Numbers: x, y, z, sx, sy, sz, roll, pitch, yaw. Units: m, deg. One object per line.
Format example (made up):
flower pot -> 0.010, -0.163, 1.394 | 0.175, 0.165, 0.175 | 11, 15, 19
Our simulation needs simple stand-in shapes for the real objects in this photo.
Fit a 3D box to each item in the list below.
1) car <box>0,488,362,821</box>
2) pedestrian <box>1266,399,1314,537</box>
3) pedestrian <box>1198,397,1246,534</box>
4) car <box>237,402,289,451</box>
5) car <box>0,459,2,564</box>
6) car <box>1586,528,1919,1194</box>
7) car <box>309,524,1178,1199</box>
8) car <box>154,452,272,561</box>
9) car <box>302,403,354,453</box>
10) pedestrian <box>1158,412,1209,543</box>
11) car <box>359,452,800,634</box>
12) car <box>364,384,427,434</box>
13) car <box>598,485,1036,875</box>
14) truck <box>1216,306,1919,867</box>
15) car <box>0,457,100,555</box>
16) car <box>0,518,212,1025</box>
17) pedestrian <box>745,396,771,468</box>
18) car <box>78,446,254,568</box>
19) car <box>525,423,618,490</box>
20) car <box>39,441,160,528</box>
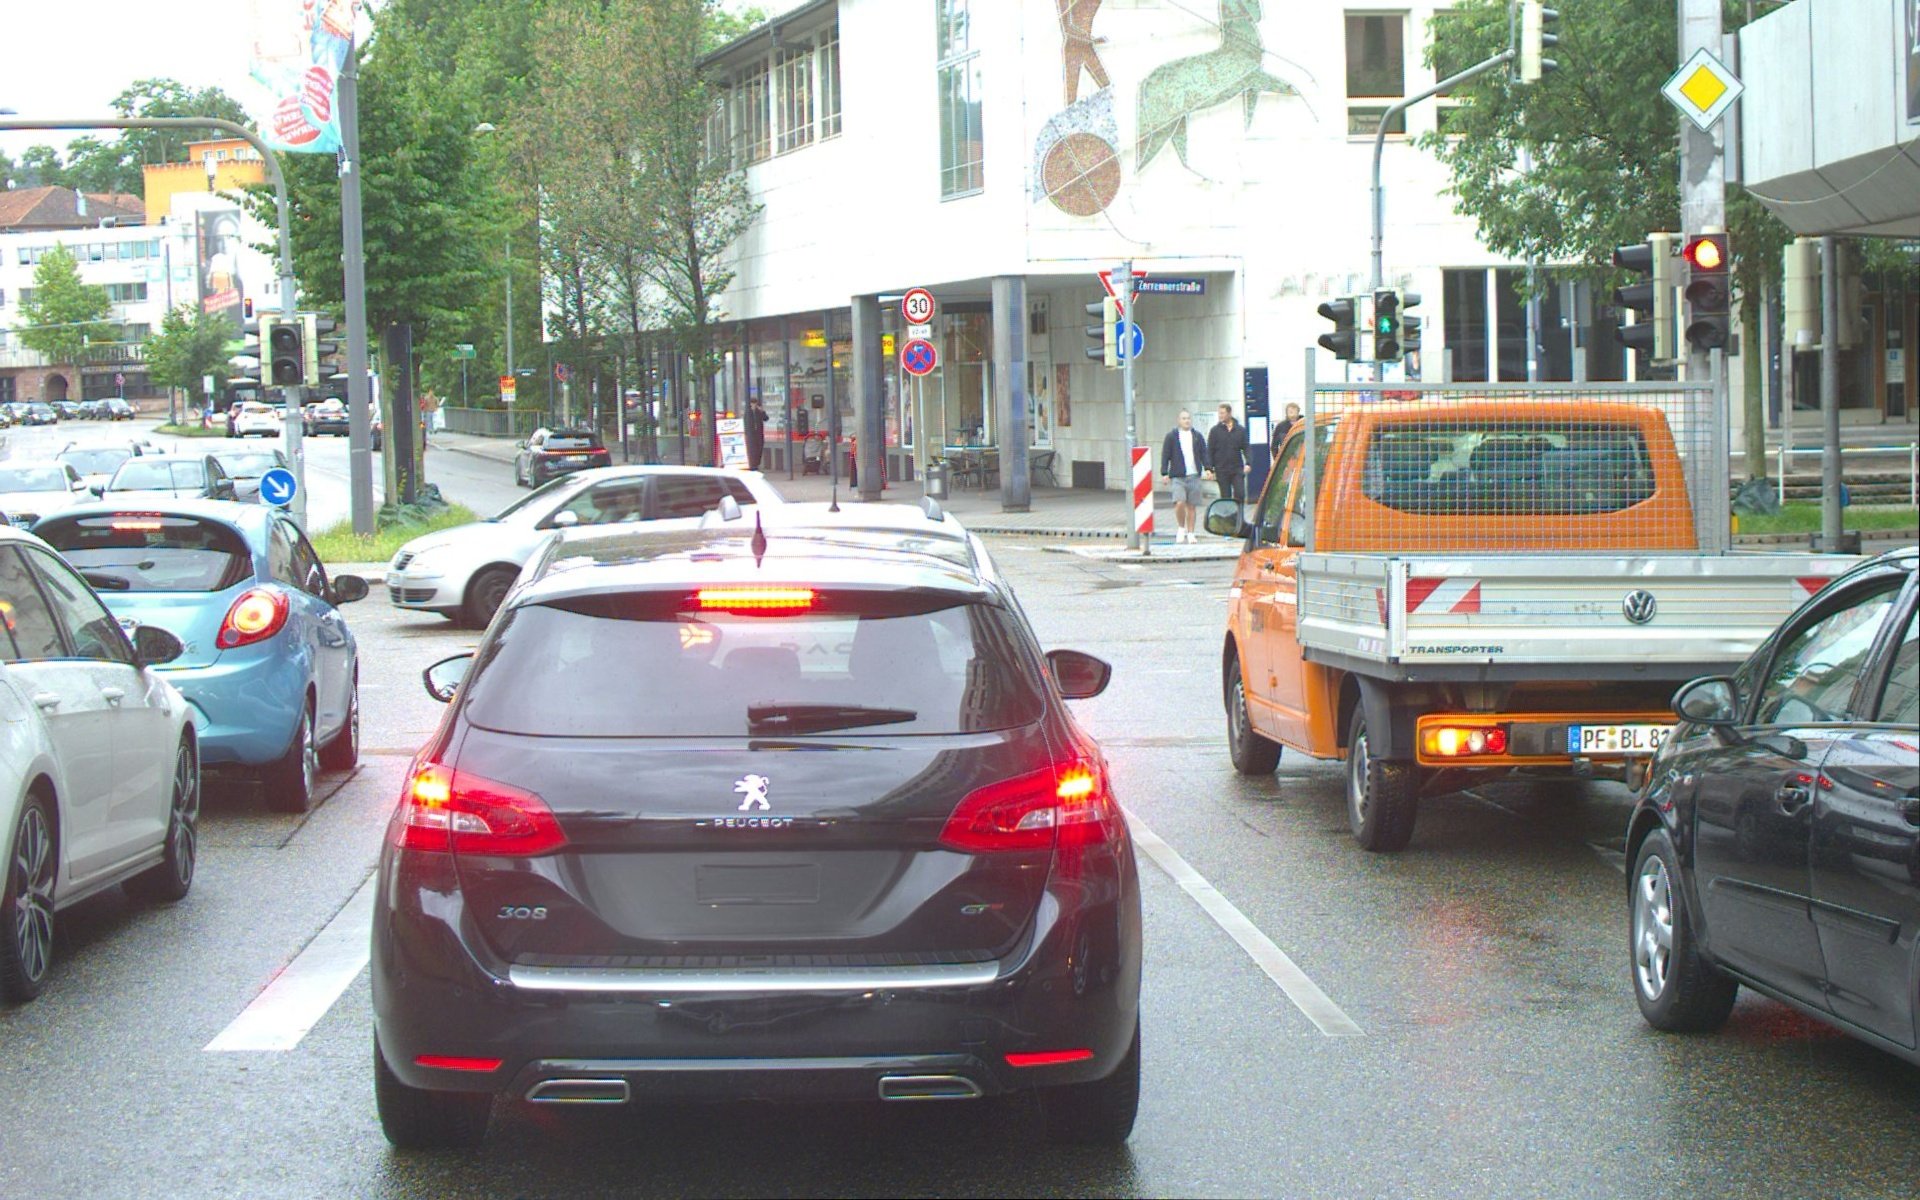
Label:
car -> -4.012, 0.193, 17.456 | 1.632, 1.481, 3.610 | 0, 2, -5
pedestrian -> 4.587, -1.831, 47.775 | 0.637, 1.891, 0.733 | 0, 0, 6
pedestrian -> 3.676, -1.879, 48.282 | 0.637, 1.891, 0.733 | 0, 0, 6
car -> -29.616, -7.347, 146.035 | 1.705, 1.875, 4.001 | 1, 0, -18
car -> -14.260, -1.183, 46.924 | 1.574, 1.481, 3.610 | 0, 2, -4
car -> 2.848, 0.560, 8.659 | 1.616, 1.424, 3.843 | 0, 2, -3
car -> -0.523, 0.538, 9.003 | 1.777, 1.424, 3.843 | 0, 2, -2
car -> -11.968, -1.464, 55.265 | 1.744, 1.634, 4.001 | 1, 0, -11
car -> -27.061, -7.352, 147.160 | 1.705, 1.929, 4.001 | 1, 0, -18
pedestrian -> 3.031, -1.658, 46.604 | 0.637, 1.752, 0.733 | 0, 0, 6
car -> -3.577, -0.534, 32.265 | 3.740, 1.463, 1.638 | -3, 0, -21
car -> -19.997, -6.749, 121.657 | 1.724, 1.485, 4.734 | 1, 0, -15
car -> -0.587, 0.253, 15.310 | 1.696, 1.481, 3.794 | 1, 2, -1
truck -> 2.579, -0.149, 15.896 | 2.177, 2.165, 5.021 | 1, 2, -3
car -> -14.604, -1.503, 54.066 | 1.632, 1.481, 3.611 | 0, 2, -7
car -> -3.720, 0.455, 11.454 | 1.777, 1.424, 3.843 | 0, 2, -3
pedestrian -> -4.949, -4.105, 84.170 | 0.468, 1.742, 0.541 | 1, 0, -21
car -> -11.015, -1.260, 47.905 | 1.744, 1.574, 4.000 | 1, 0, -4
car -> -9.338, -3.459, 82.330 | 1.787, 1.449, 4.508 | -3, 4, -11
car -> -15.270, -2.068, 61.121 | 1.632, 1.481, 3.611 | 0, 2, -7
